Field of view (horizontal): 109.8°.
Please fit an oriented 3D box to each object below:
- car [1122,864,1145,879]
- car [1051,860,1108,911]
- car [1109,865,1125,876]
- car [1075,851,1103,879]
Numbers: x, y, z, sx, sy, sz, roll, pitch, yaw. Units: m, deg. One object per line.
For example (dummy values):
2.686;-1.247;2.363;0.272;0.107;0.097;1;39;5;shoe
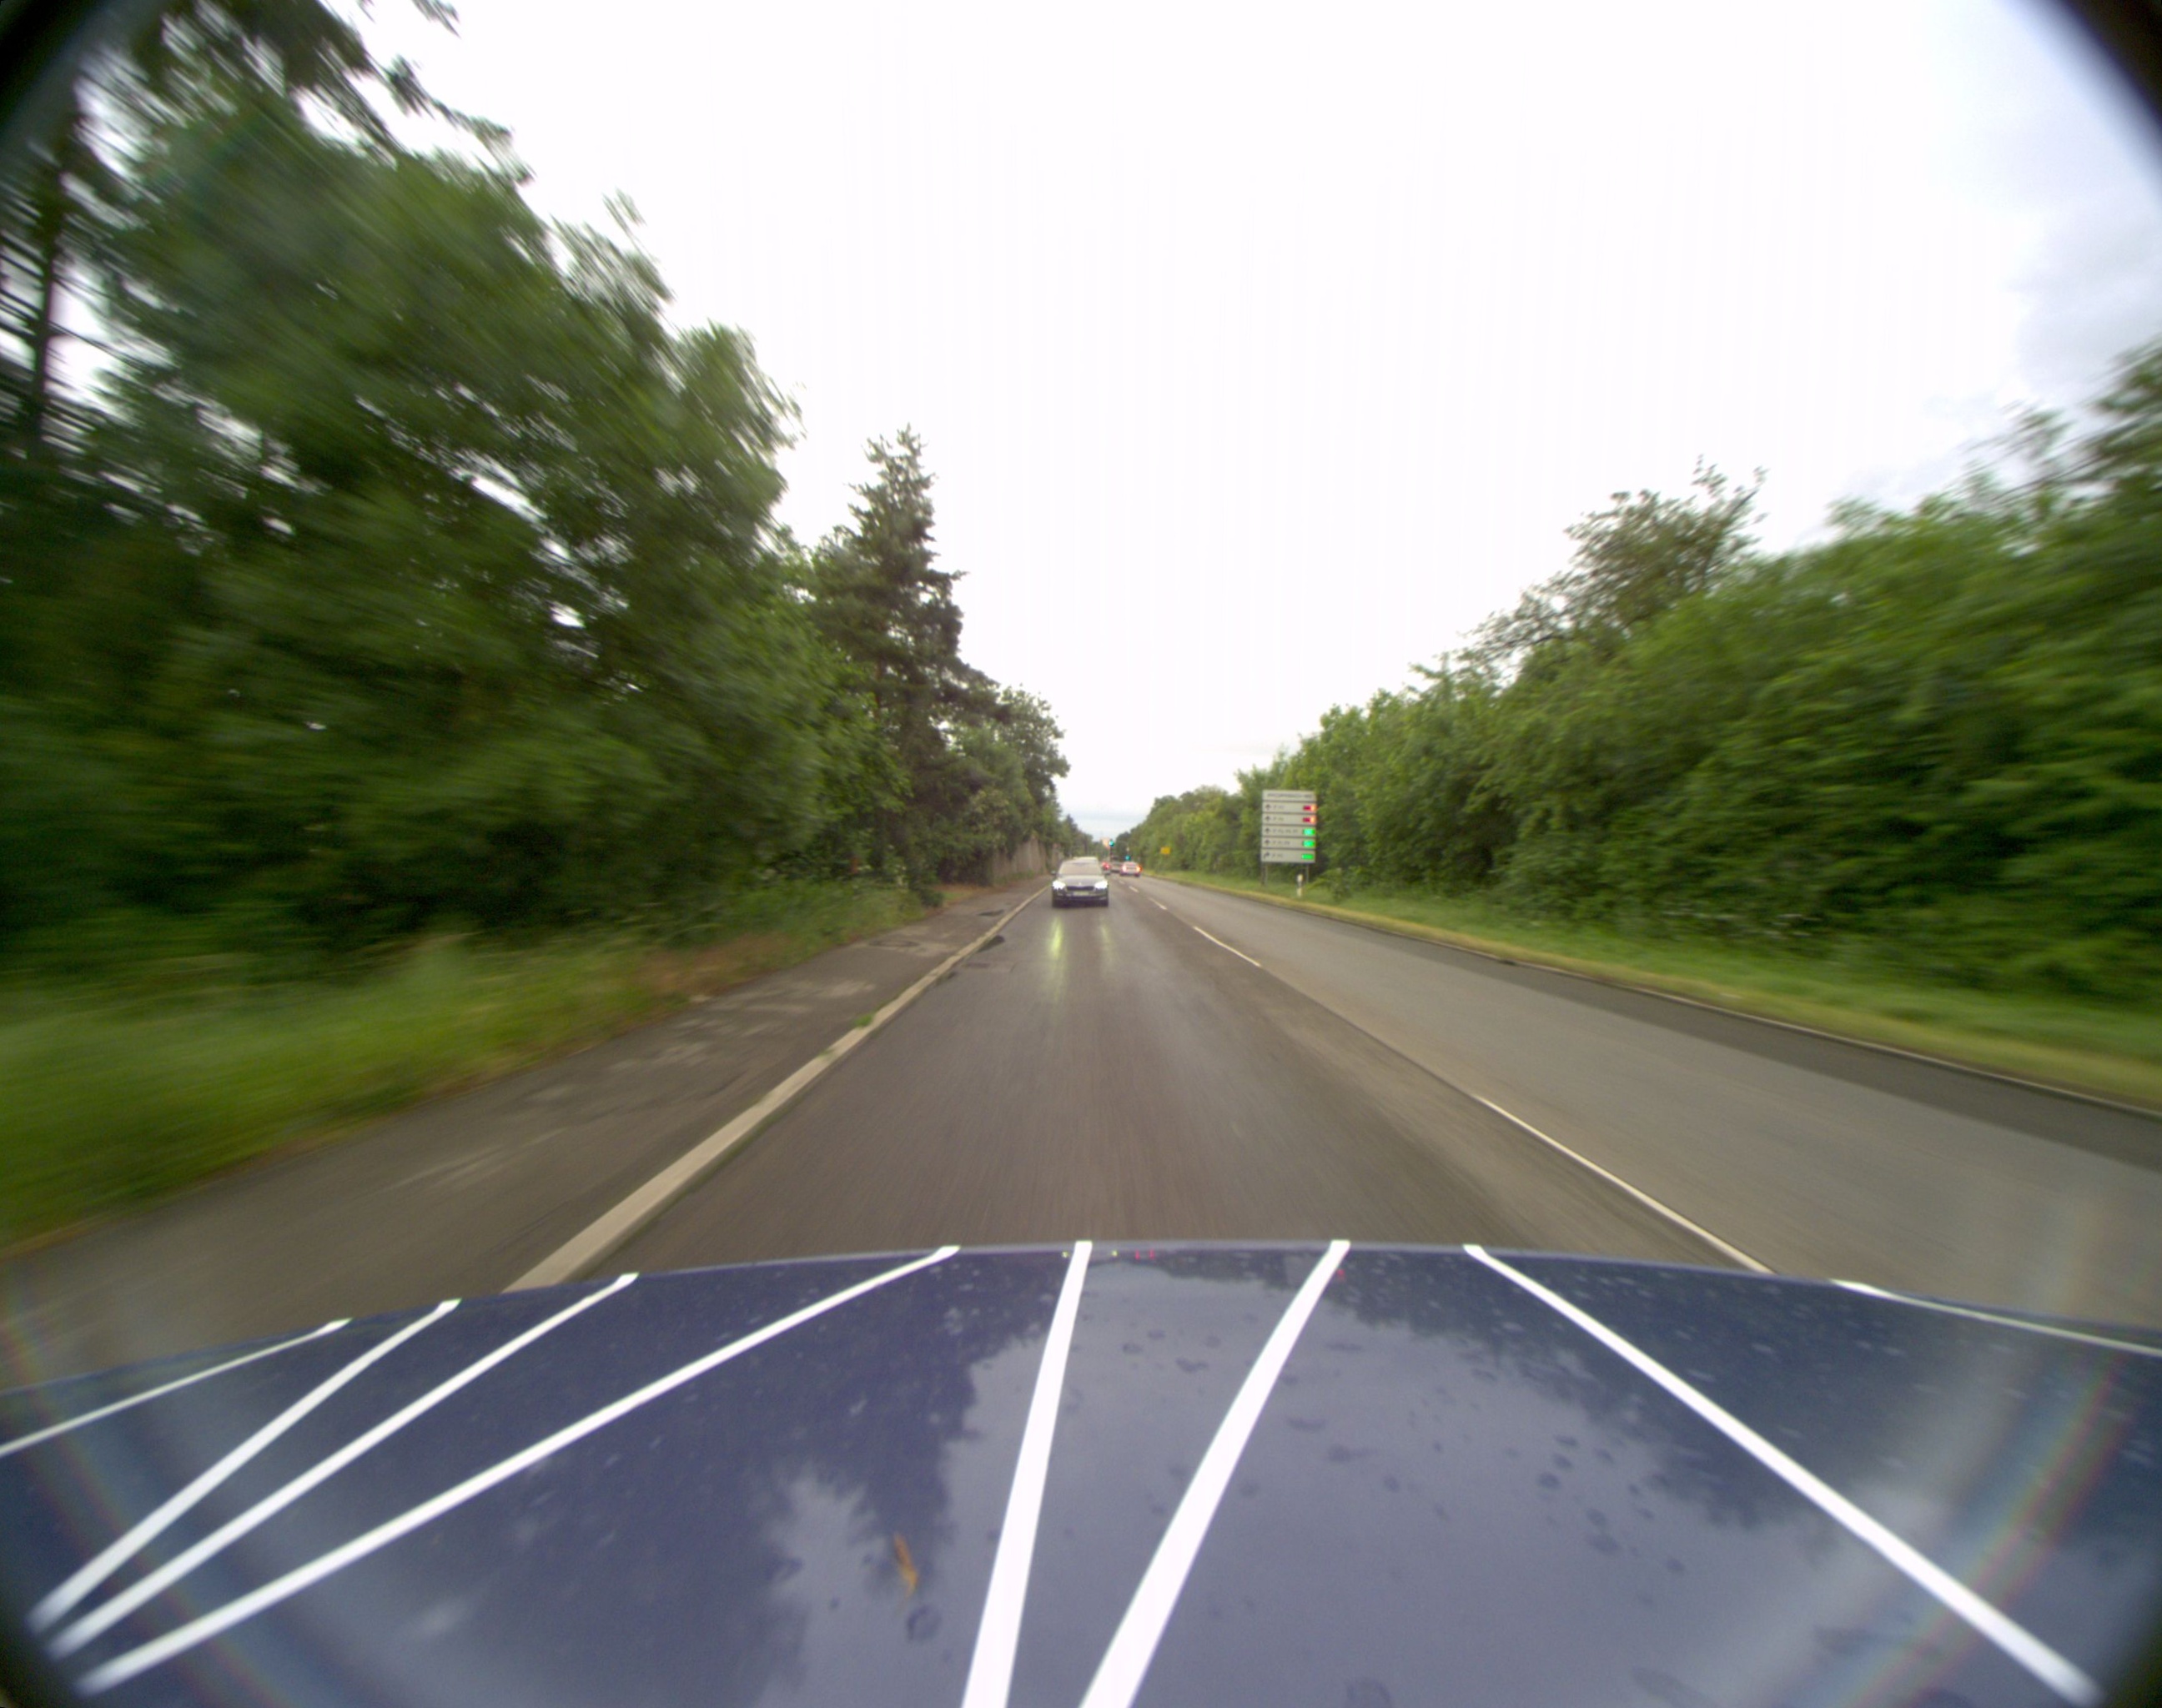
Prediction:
5.126;1.725;74.499;1.896;1.346;4.381;0;0;-1;car
-0.043;0.968;24.961;1.675;1.477;4.215;-2;0;0;car
4.742;2.180;100.472;1.830;1.411;4.320;2;0;0;car
0.457;0.666;48.178;1.704;1.724;3.999;0;0;-1;car
